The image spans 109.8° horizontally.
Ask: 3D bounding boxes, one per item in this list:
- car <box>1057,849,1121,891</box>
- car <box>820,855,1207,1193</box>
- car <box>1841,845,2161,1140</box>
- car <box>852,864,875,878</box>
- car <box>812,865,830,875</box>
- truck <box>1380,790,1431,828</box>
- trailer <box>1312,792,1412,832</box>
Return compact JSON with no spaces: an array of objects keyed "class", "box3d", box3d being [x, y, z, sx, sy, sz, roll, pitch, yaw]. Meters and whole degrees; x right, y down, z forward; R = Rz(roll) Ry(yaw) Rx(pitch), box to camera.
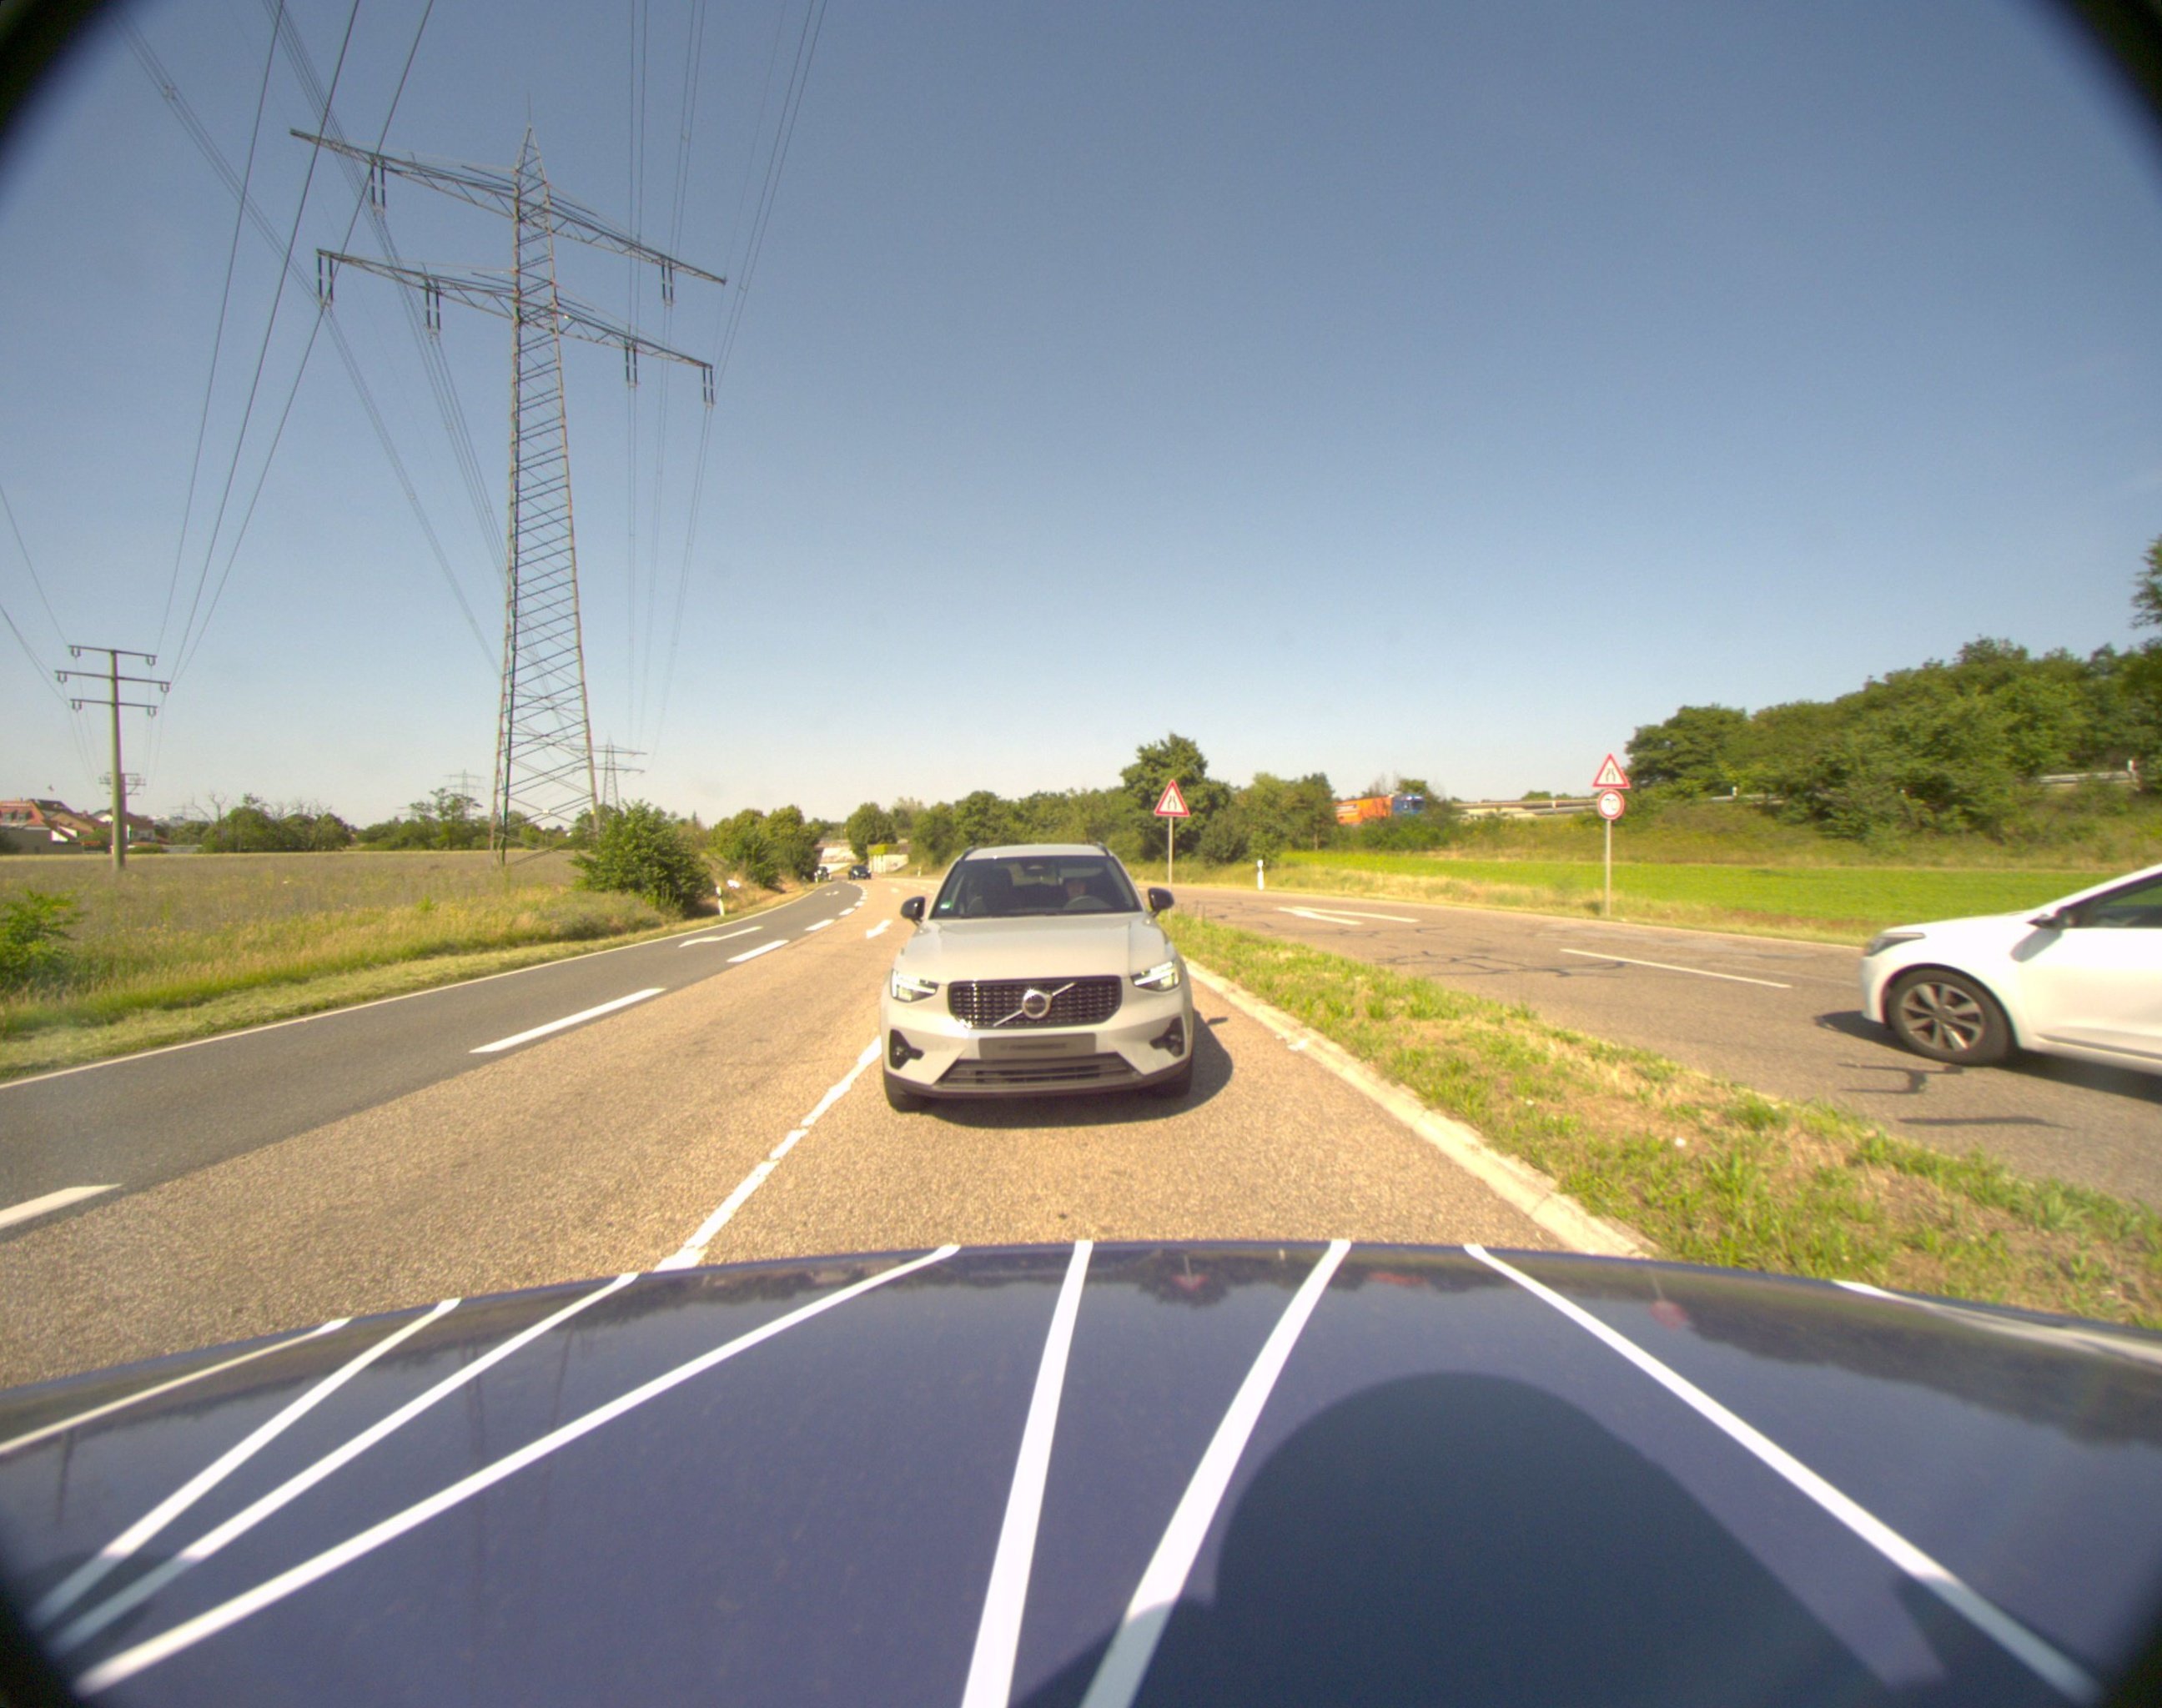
[{"class":"car","box3d":[0.324,0.772,38.621,2.001,1.907,4.942,-2,0,-14]},{"class":"car","box3d":[-0.309,0.849,5.577,1.859,1.609,3.647,-2,0,1]},{"class":"car","box3d":[6.337,0.704,3.476,1.722,1.456,3.911,-1,1,-3]},{"class":"car","box3d":[-23.595,1.861,82.343,1.901,1.344,3.527,-3,1,-23]},{"class":"car","box3d":[-36.483,2.239,106.507,1.901,1.344,3.527,-3,1,-27]},{"class":"truck","box3d":[36.233,-5.006,85.023,2.565,3.953,4.657,-3,1,-21]},{"class":"trailer","box3d":[33.530,-4.962,91.828,2.580,3.936,13.847,-3,1,-22]}]
